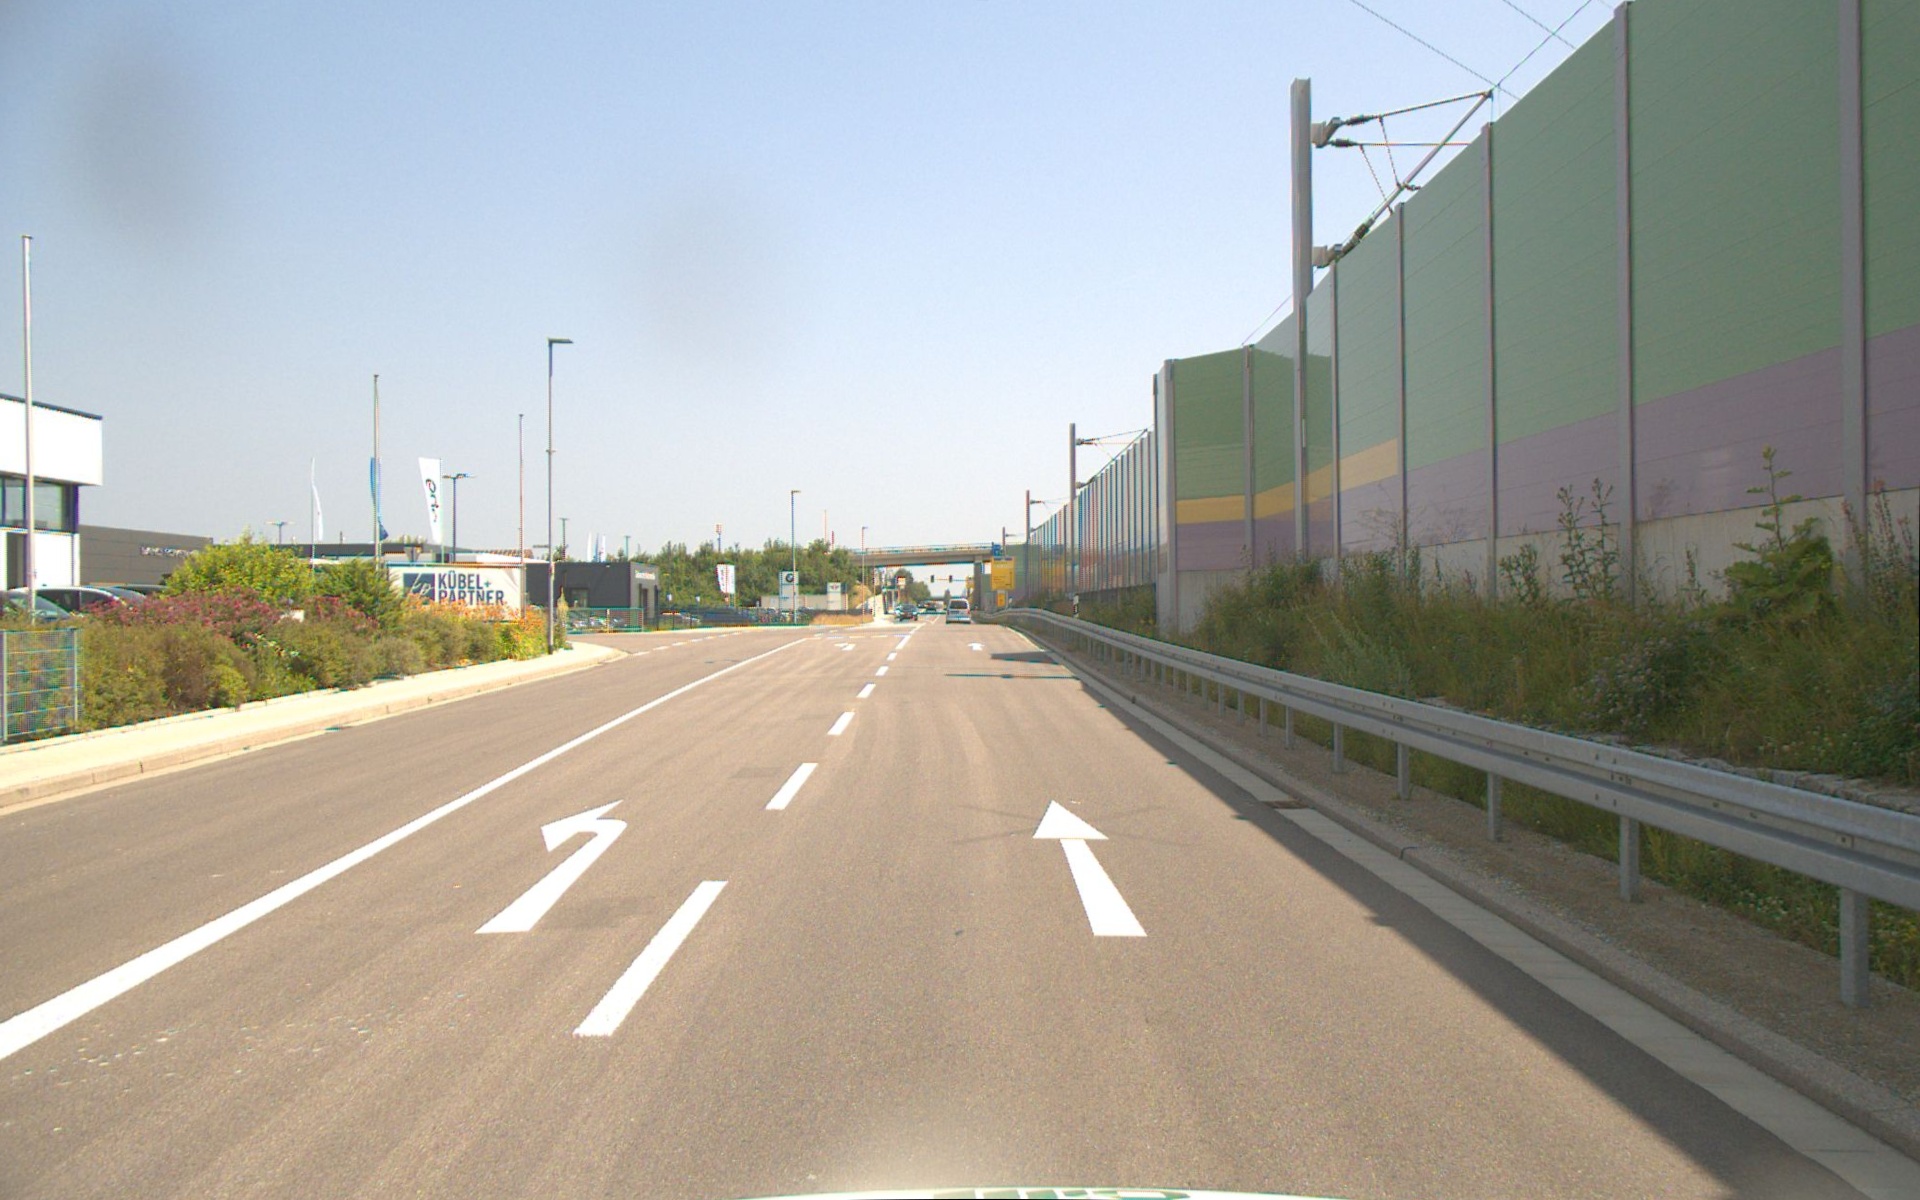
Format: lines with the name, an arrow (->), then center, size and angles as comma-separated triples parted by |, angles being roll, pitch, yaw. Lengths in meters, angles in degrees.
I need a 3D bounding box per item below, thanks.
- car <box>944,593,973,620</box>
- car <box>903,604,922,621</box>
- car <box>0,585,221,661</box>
car -> -0.076, 0.455, 114.867 | 1.952, 1.788, 4.001 | -1, 0, 1
car -> -4.834, 1.260, 168.759 | 1.839, 1.702, 4.290 | -1, 0, 0
car -> -15.994, 0.412, 31.119 | 3.439, 1.276, 1.504 | 2, 0, -2
